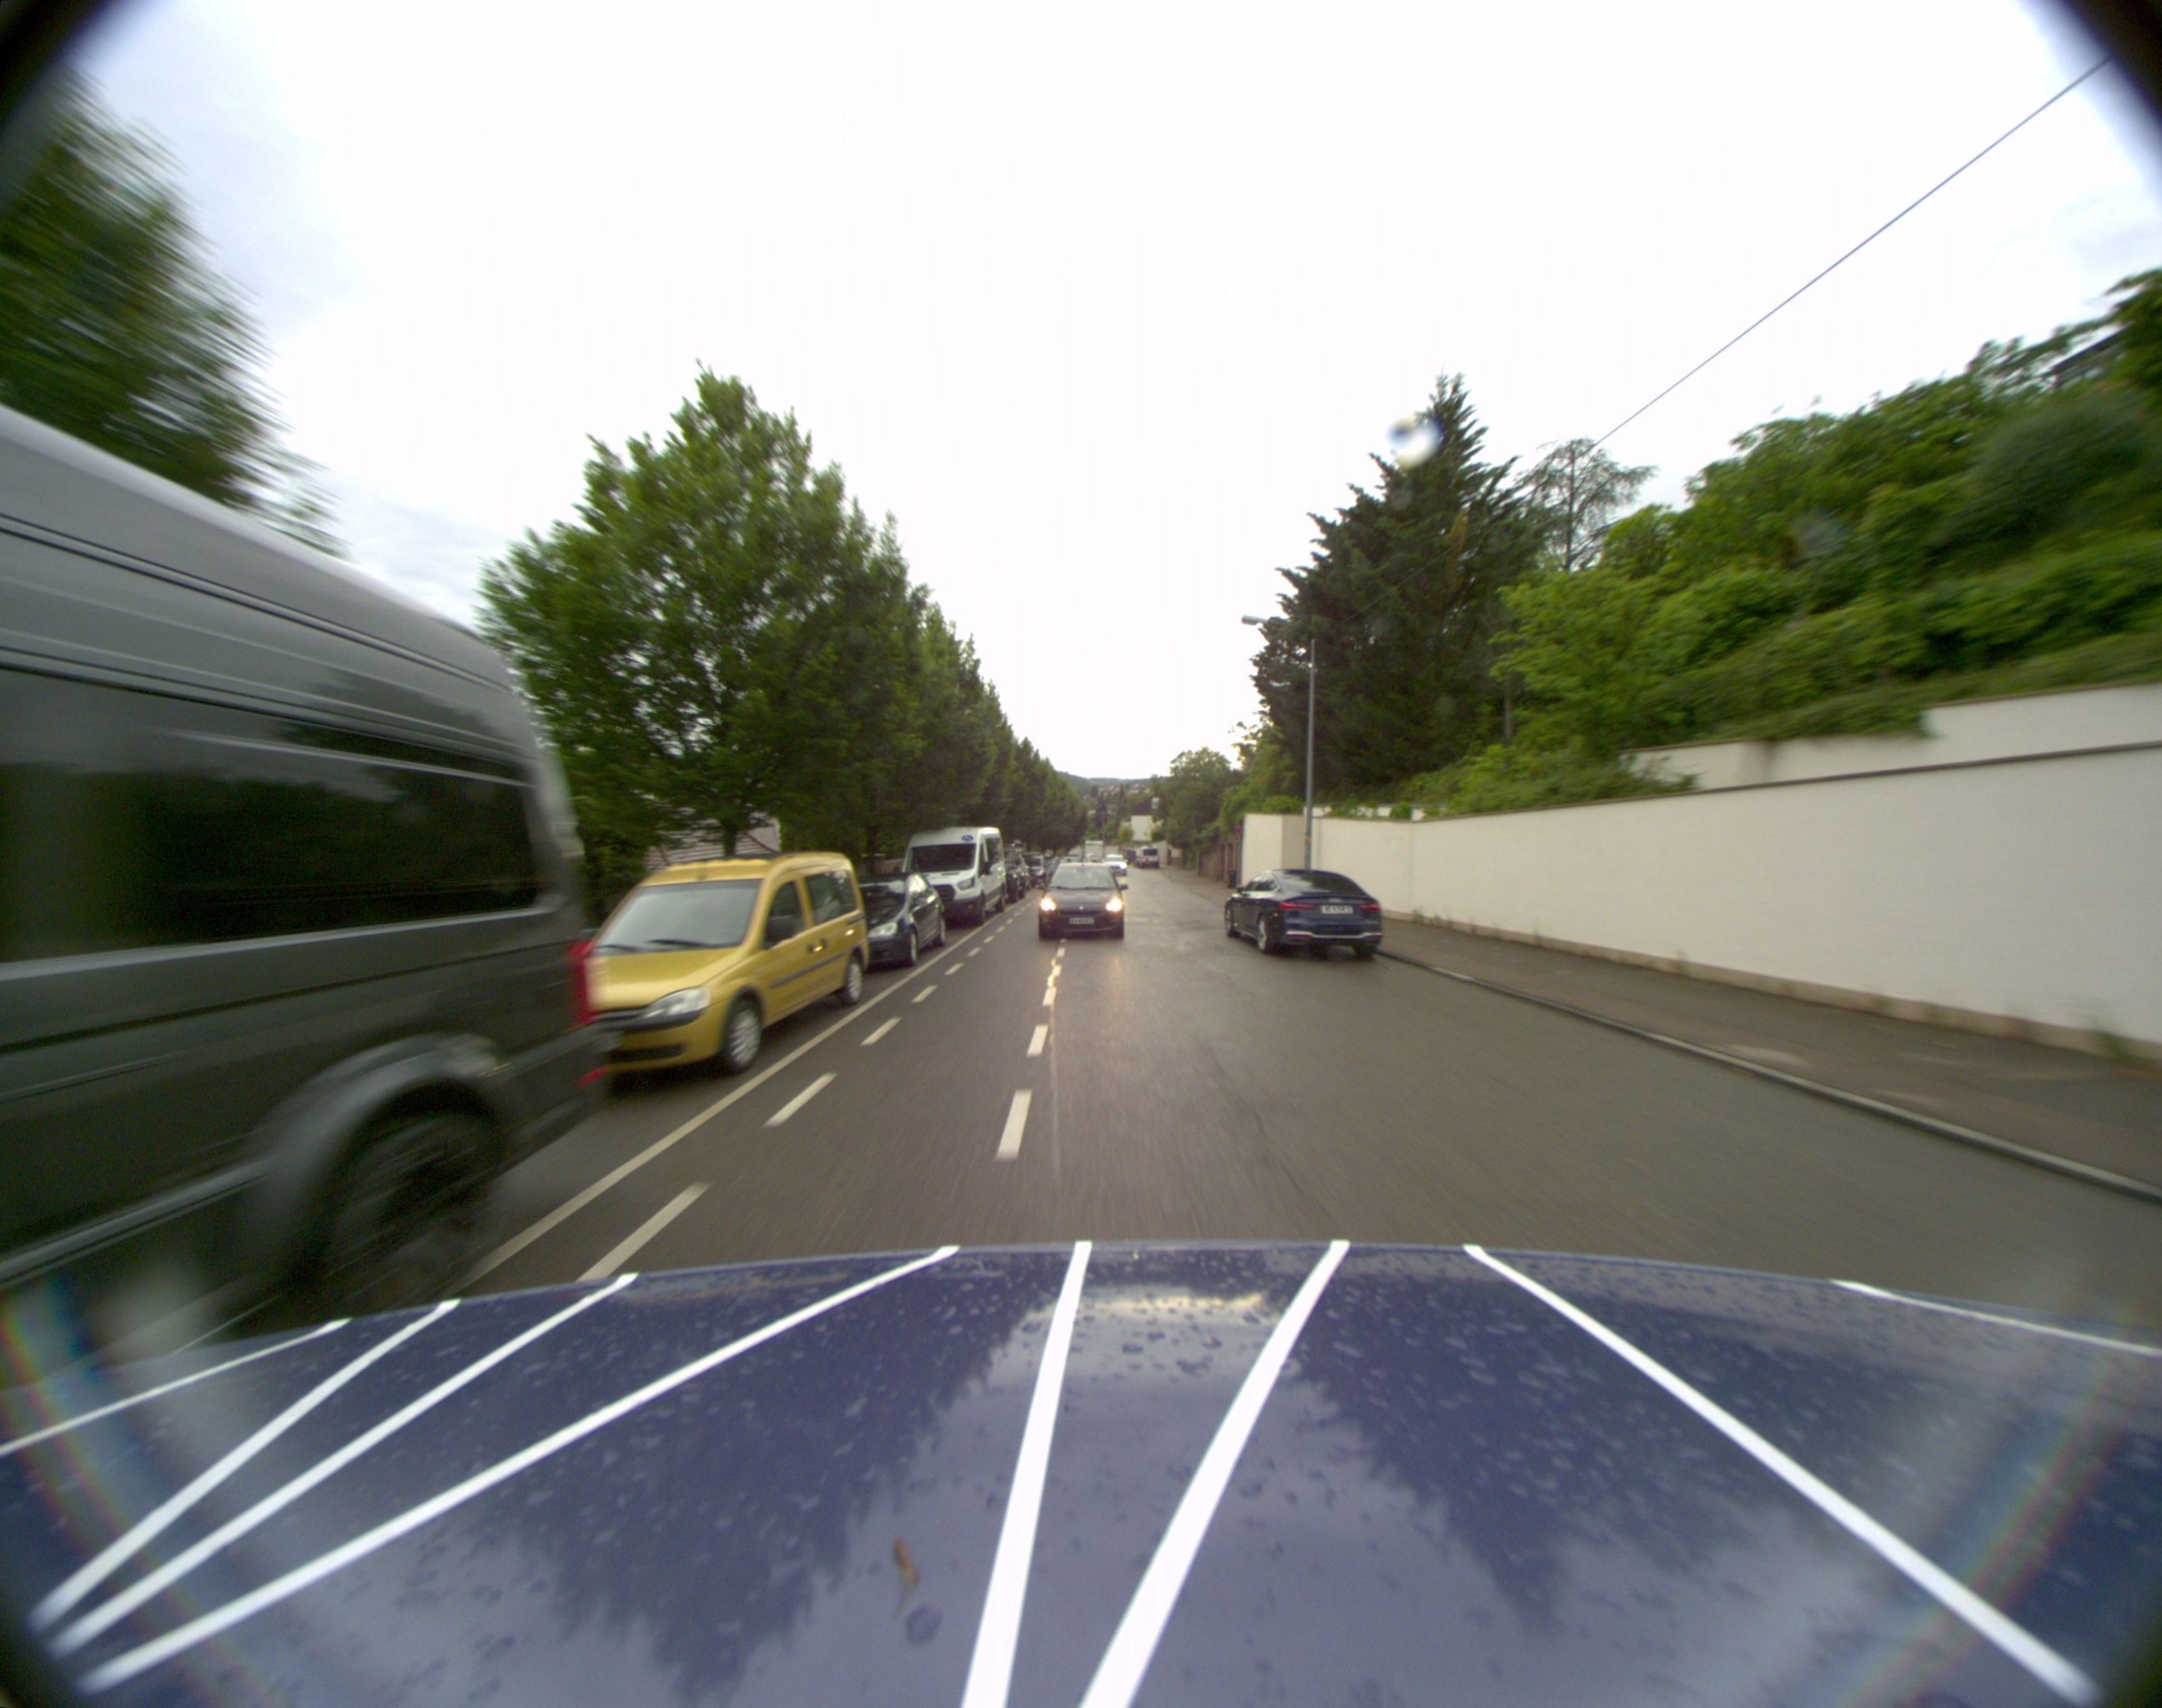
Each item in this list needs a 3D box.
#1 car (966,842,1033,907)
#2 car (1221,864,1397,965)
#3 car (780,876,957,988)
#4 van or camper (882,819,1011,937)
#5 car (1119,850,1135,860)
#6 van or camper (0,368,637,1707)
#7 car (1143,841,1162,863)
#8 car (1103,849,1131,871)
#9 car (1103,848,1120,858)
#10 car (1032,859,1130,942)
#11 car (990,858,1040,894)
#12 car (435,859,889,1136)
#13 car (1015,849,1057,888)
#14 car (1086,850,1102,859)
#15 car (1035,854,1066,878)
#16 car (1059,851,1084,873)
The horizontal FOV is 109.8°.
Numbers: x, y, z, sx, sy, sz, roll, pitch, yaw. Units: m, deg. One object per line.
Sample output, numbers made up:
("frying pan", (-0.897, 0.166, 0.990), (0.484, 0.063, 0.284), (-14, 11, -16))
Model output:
("car", (-2.908, 0.675, 27.913), (1.725, 2.126, 4.403), (-3, 0, 2))
("car", (3.790, 0.931, 13.432), (1.812, 1.421, 4.253), (0, 0, 0))
("car", (-3.377, 1.166, 12.984), (1.725, 1.366, 4.402), (-3, 0, 0))
("van or camper", (-3.276, 0.527, 19.832), (2.170, 2.540, 5.615), (-3, 0, 0))
("car", (6.739, 0.146, 111.803), (1.851, 1.489, 3.765), (0, 0, -5))
("van or camper", (-3.400, 0.420, 0.946), (2.130, 2.893, 5.727), (-2, 0, 1))
("car", (8.074, -0.260, 86.102), (2.109, 2.468, 4.566), (0, 0, 5))
("car", (2.970, 0.506, 62.043), (2.190, 1.698, 4.884), (1, 0, 3))
("car", (4.746, -0.136, 119.334), (1.853, 1.489, 3.763), (0, 0, -12))
("car", (0.094, 0.872, 16.186), (1.783, 1.477, 4.406), (0, 0, 3))
("car", (-3.031, 0.986, 35.579), (1.725, 1.426, 4.325), (-3, 0, 2))
("car", (-3.390, 0.993, 7.329), (1.725, 1.738, 4.403), (-3, 0, 2))
("car", (-2.359, 0.723, 40.475), (1.725, 1.844, 4.403), (-3, 0, 2))
("car", (2.193, 0.126, 130.858), (1.853, 1.489, 3.763), (0, 0, -12))
("car", (-2.004, 0.774, 51.220), (1.725, 1.495, 4.201), (-3, 0, 2))
("car", (-0.751, 0.614, 61.839), (1.725, 1.619, 4.403), (-3, 0, 2))
